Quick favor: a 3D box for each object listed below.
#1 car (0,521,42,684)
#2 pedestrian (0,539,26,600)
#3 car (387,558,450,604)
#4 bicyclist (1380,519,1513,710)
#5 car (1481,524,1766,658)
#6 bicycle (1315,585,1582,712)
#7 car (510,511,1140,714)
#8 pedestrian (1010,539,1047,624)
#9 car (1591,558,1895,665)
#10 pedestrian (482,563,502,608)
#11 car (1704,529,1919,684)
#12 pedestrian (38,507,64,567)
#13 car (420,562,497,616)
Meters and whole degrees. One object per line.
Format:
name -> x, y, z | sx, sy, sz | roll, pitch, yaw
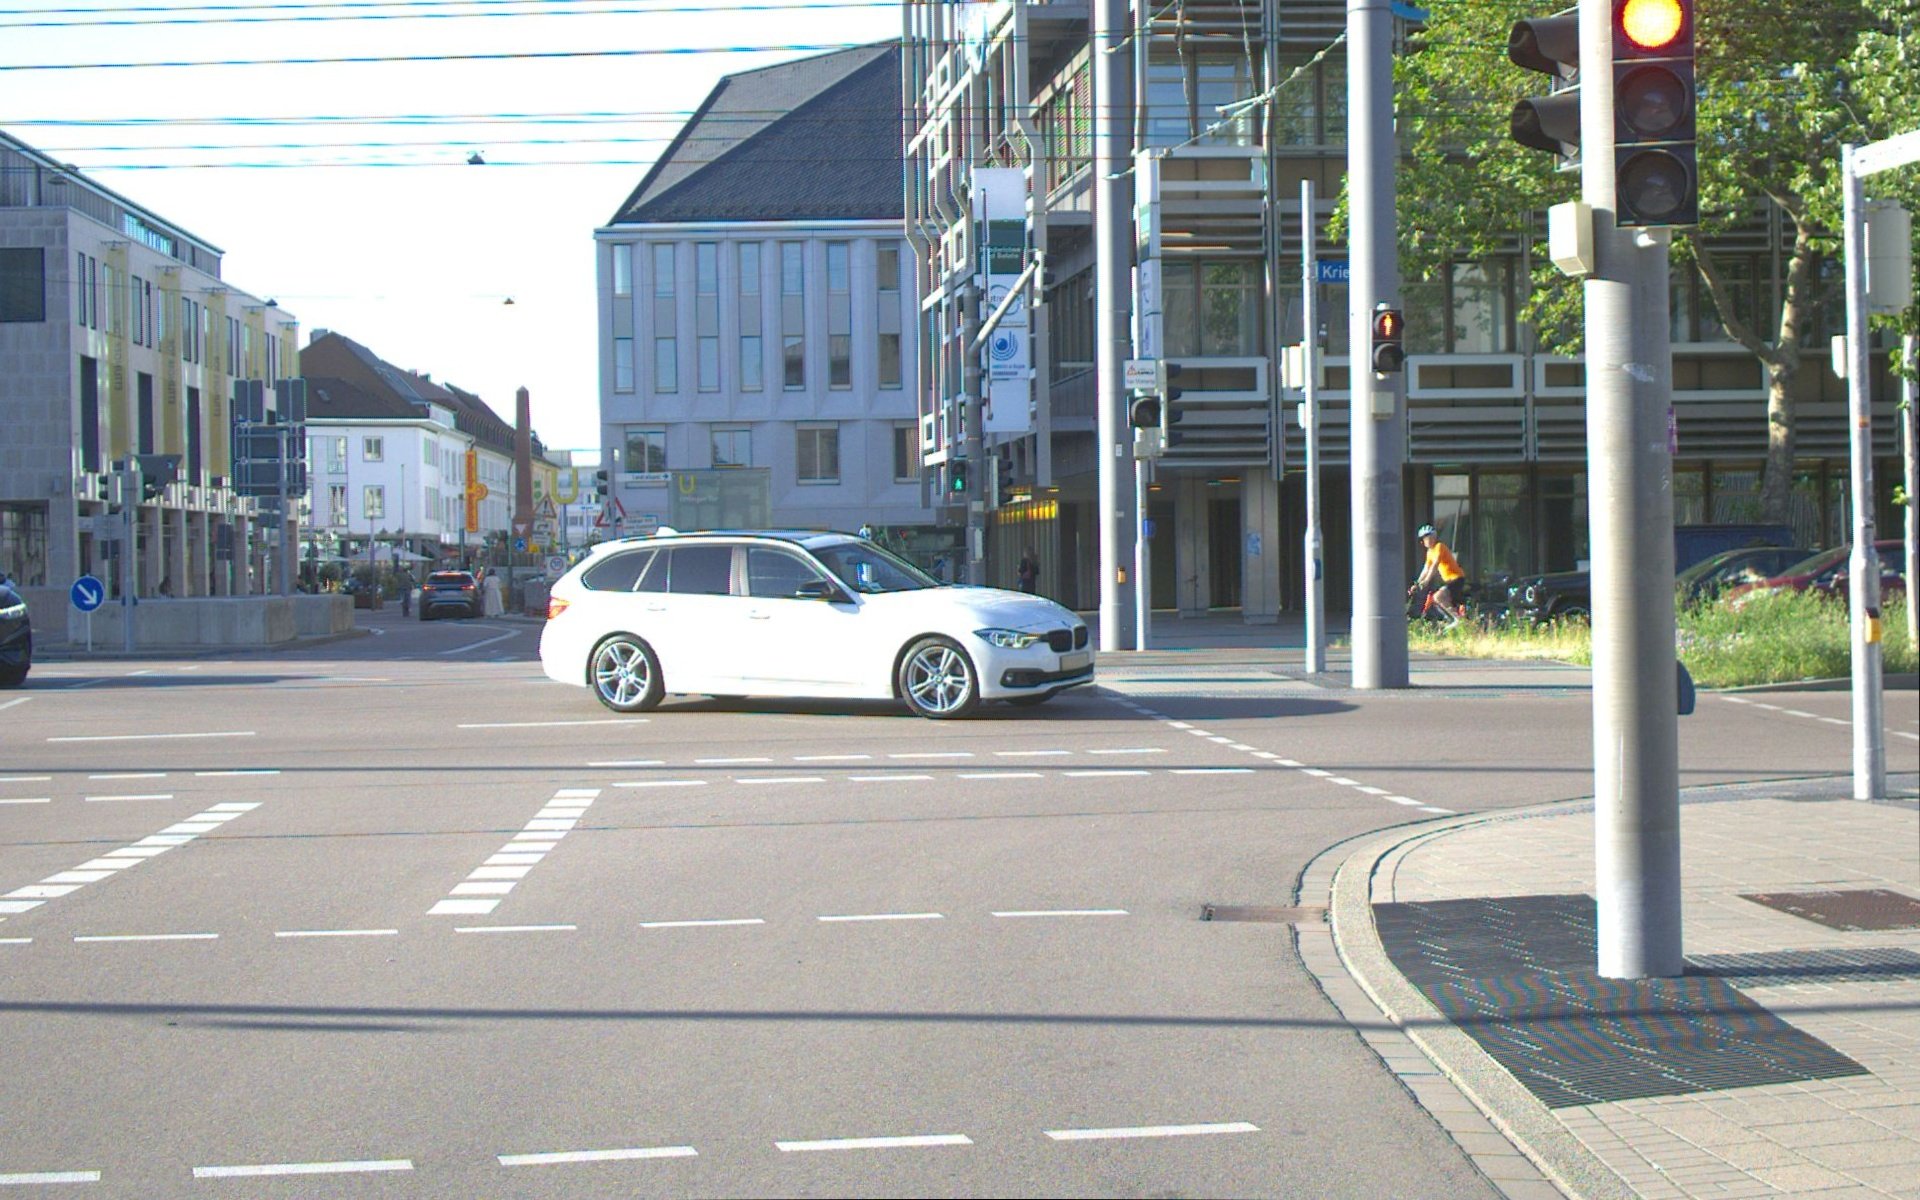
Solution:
car -> -11.171, -0.034, 36.006 | 1.993, 1.596, 4.955 | 0, 2, -27
pedestrian -> -31.747, -1.028, 115.206 | 0.626, 2.007, 0.733 | -1, 1, 2
car -> -20.691, -0.742, 131.504 | 1.993, 1.654, 4.407 | -2, 1, -4
bicyclist -> 6.664, 0.188, 47.141 | 1.567, 2.571, 0.932 | -1, 1, -9
car -> 10.348, -0.145, 53.778 | 3.986, 2.007, 2.000 | 1, 0, -3
bicycle -> 6.696, 0.647, 47.147 | 3.490, 1.653, 0.932 | -1, 1, -9
car -> -1.108, 0.081, 27.768 | 4.694, 1.522, 1.997 | 0, 1, 27
pedestrian -> 1.356, -0.369, 68.203 | 0.663, 1.652, 0.755 | -1, 1, -3
car -> 11.497, 0.156, 50.661 | 3.986, 1.503, 1.868 | 0, 1, -3
pedestrian -> -14.781, -0.452, 108.569 | 0.609, 1.406, 0.570 | -1, 1, -6
car -> 12.290, 0.086, 46.410 | 3.986, 2.007, 2.000 | 1, 0, -3
pedestrian -> -30.740, -2.124, 116.215 | 0.626, 2.007, 0.733 | -1, 1, 2
car -> -15.800, -0.356, 108.425 | 2.199, 1.601, 4.327 | -1, 1, -6
